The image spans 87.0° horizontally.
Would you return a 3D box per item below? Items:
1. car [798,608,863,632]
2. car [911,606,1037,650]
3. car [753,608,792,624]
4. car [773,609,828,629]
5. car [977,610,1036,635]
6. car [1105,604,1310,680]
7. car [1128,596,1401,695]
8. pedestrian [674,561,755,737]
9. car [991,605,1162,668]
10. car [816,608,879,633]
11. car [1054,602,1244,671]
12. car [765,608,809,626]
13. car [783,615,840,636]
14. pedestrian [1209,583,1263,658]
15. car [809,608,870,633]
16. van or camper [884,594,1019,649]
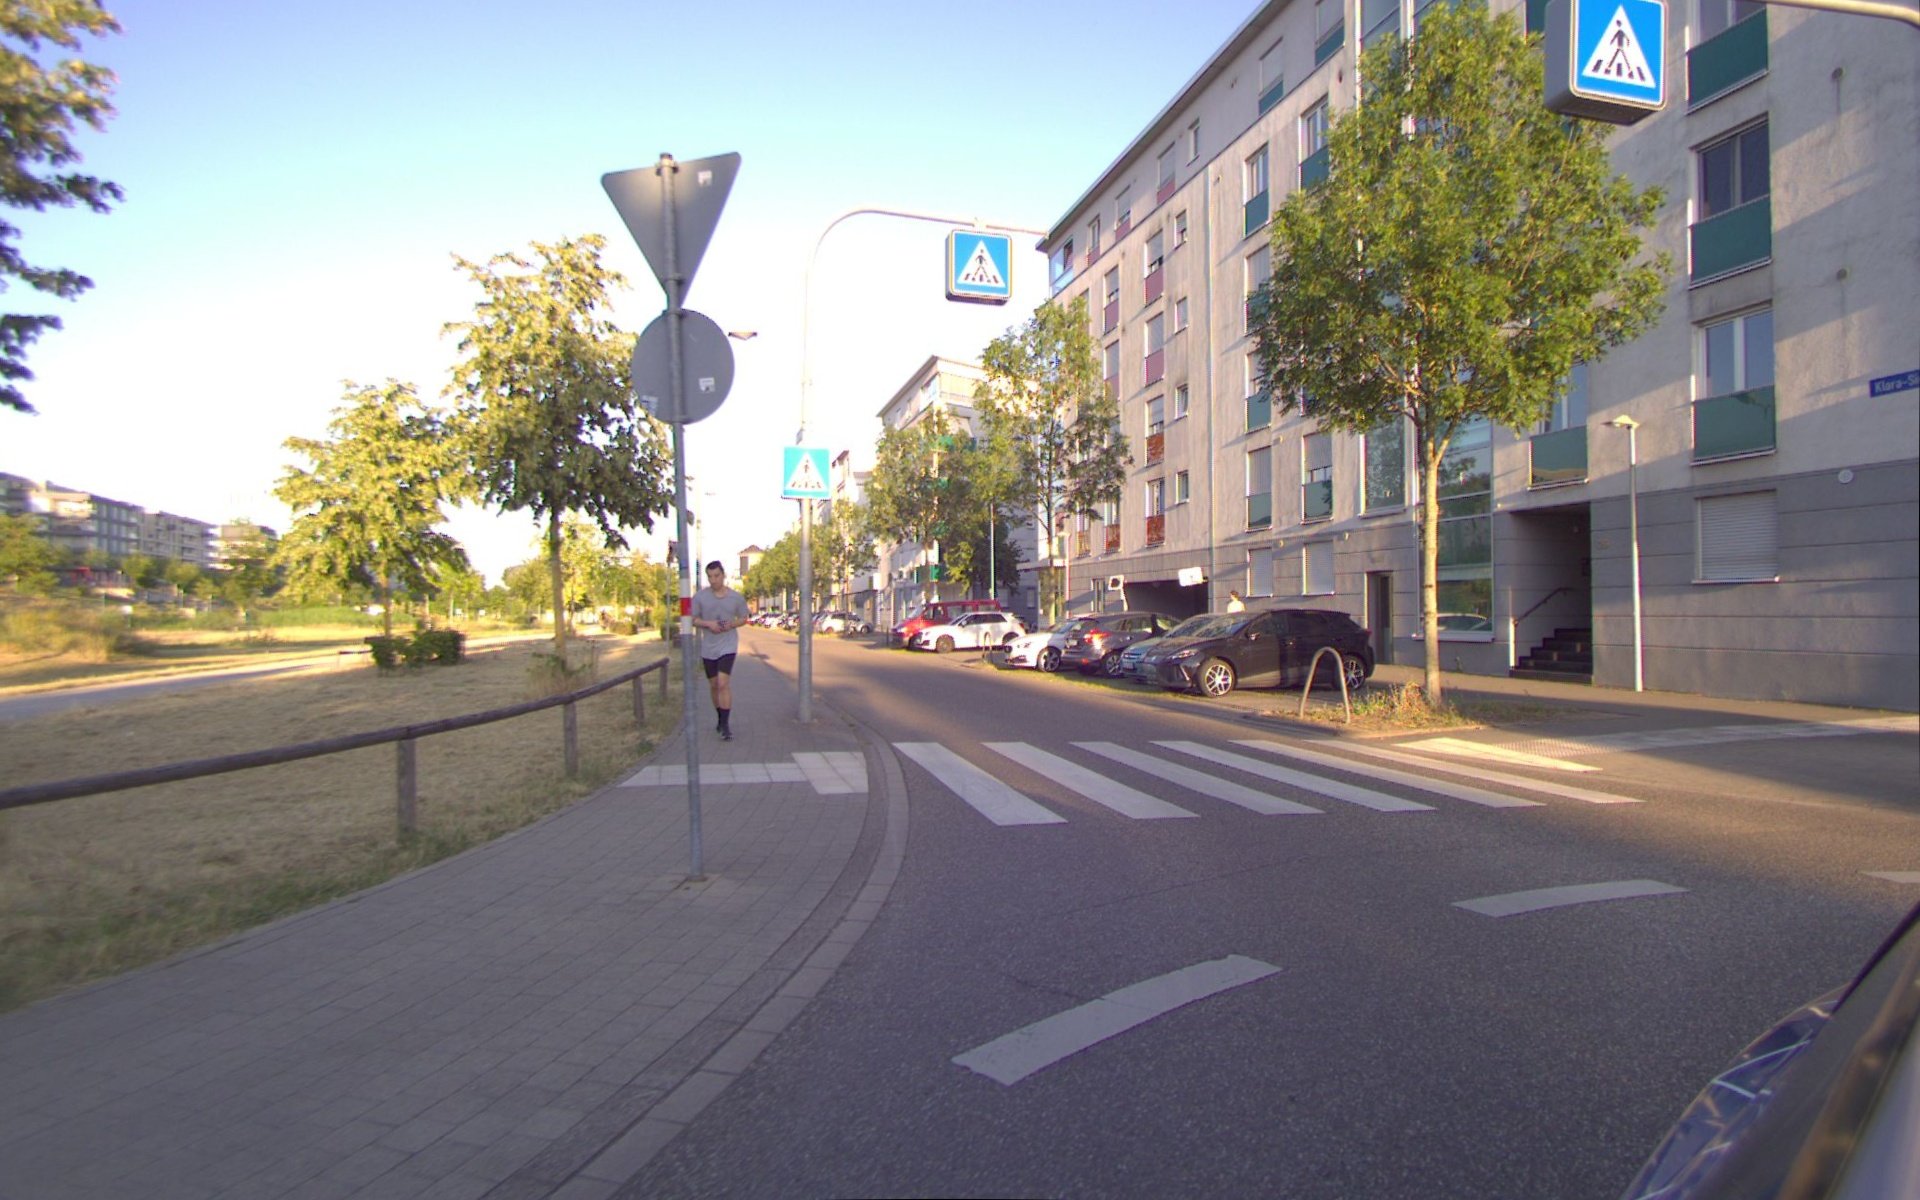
[{"bbox_3d":[-9.275,1.435,72.518,4.319,1.613,1.955,1,-1,-19],"label":"car"},{"bbox_3d":[0.514,1.047,37.688,4.372,1.540,1.704,1,-1,-17],"label":"car"},{"bbox_3d":[-22.522,1.932,121.639,4.320,1.749,1.955,1,-1,-20],"label":"car"},{"bbox_3d":[-13.712,1.614,86.918,4.319,1.613,1.955,1,-1,-18],"label":"car"},{"bbox_3d":[2.934,1.400,63.916,3.513,1.487,1.588,0,-2,42],"label":"car"},{"bbox_3d":[5.207,0.849,21.390,3.922,1.391,1.562,-2,-1,-17],"label":"car"},{"bbox_3d":[5.464,0.761,18.257,4.387,1.506,1.837,-2,0,-17],"label":"car"},{"bbox_3d":[-2.536,0.481,10.520,0.751,1.751,0.803,1,1,-11],"label":"pedestrian"},{"bbox_3d":[2.963,0.929,25.871,3.971,1.499,1.704,1,-1,-17],"label":"car"},{"bbox_3d":[-7.498,1.378,67.558,3.872,1.613,1.782,1,-1,-19],"label":"car"},{"bbox_3d":[4.349,0.844,23.413,3.971,1.499,1.704,1,-1,-17],"label":"car"},{"bbox_3d":[-18.281,1.773,106.757,4.320,1.862,1.955,1,-1,-20],"label":"car"},{"bbox_3d":[-12.056,2.061,82.272,4.319,1.613,1.955,1,-1,-18],"label":"car"},{"bbox_3d":[7.243,0.538,26.561,0.959,1.918,1.052,1,-2,-15],"label":"pedestrian"},{"bbox_3d":[-8.351,1.405,69.917,3.872,1.613,1.782,1,-1,-19],"label":"car"},{"bbox_3d":[-0.351,0.870,40.619,5.023,2.086,1.881,1,-1,-17],"label":"van or camper"}]
